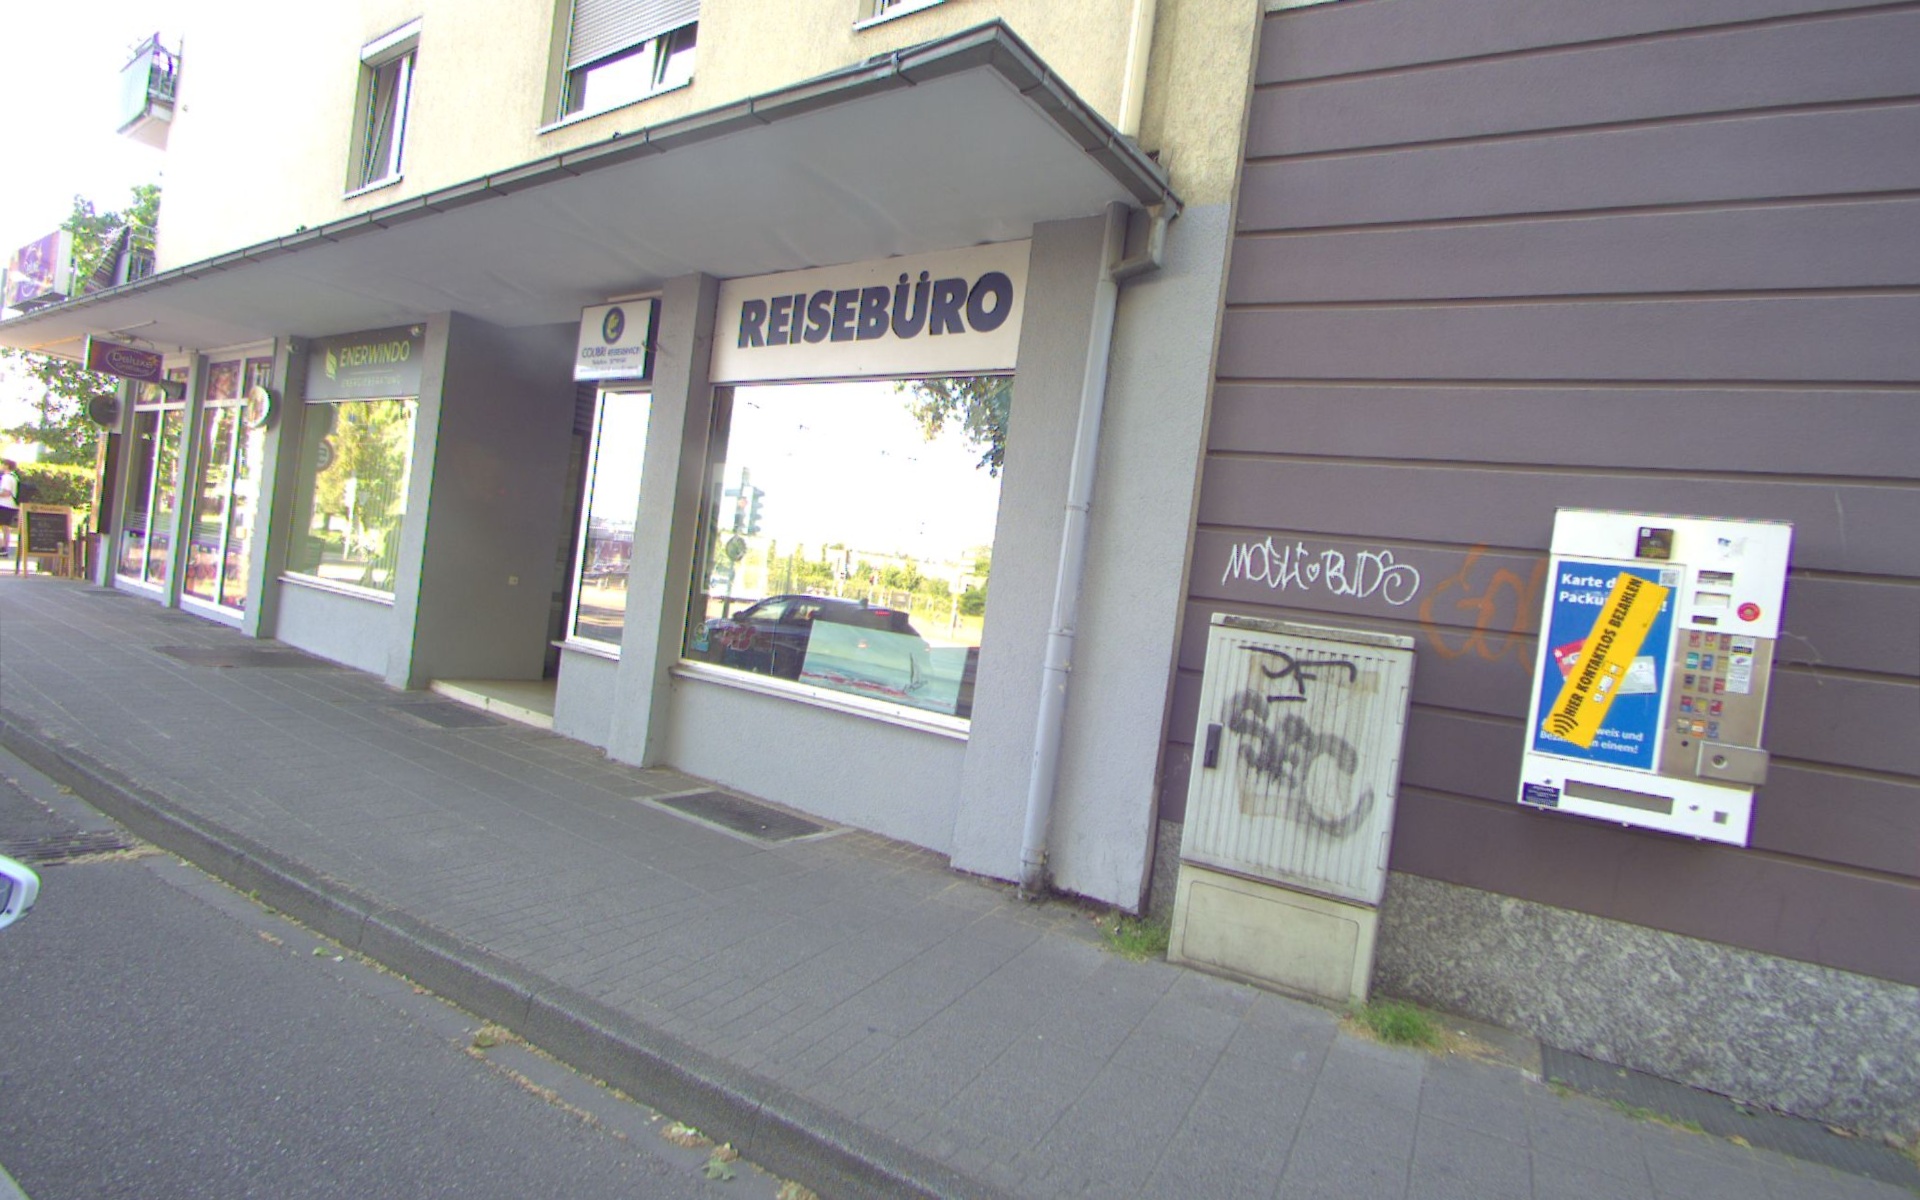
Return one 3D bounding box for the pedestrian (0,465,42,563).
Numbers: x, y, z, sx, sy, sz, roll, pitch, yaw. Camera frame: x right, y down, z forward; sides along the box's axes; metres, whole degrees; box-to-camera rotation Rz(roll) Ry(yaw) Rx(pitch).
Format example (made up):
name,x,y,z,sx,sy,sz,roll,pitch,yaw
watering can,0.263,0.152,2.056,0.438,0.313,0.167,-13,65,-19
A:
name,x,y,z,sx,sy,sz,roll,pitch,yaw
pedestrian,-18.802,-1.709,19.774,0.734,1.841,0.633,7,-1,-17
